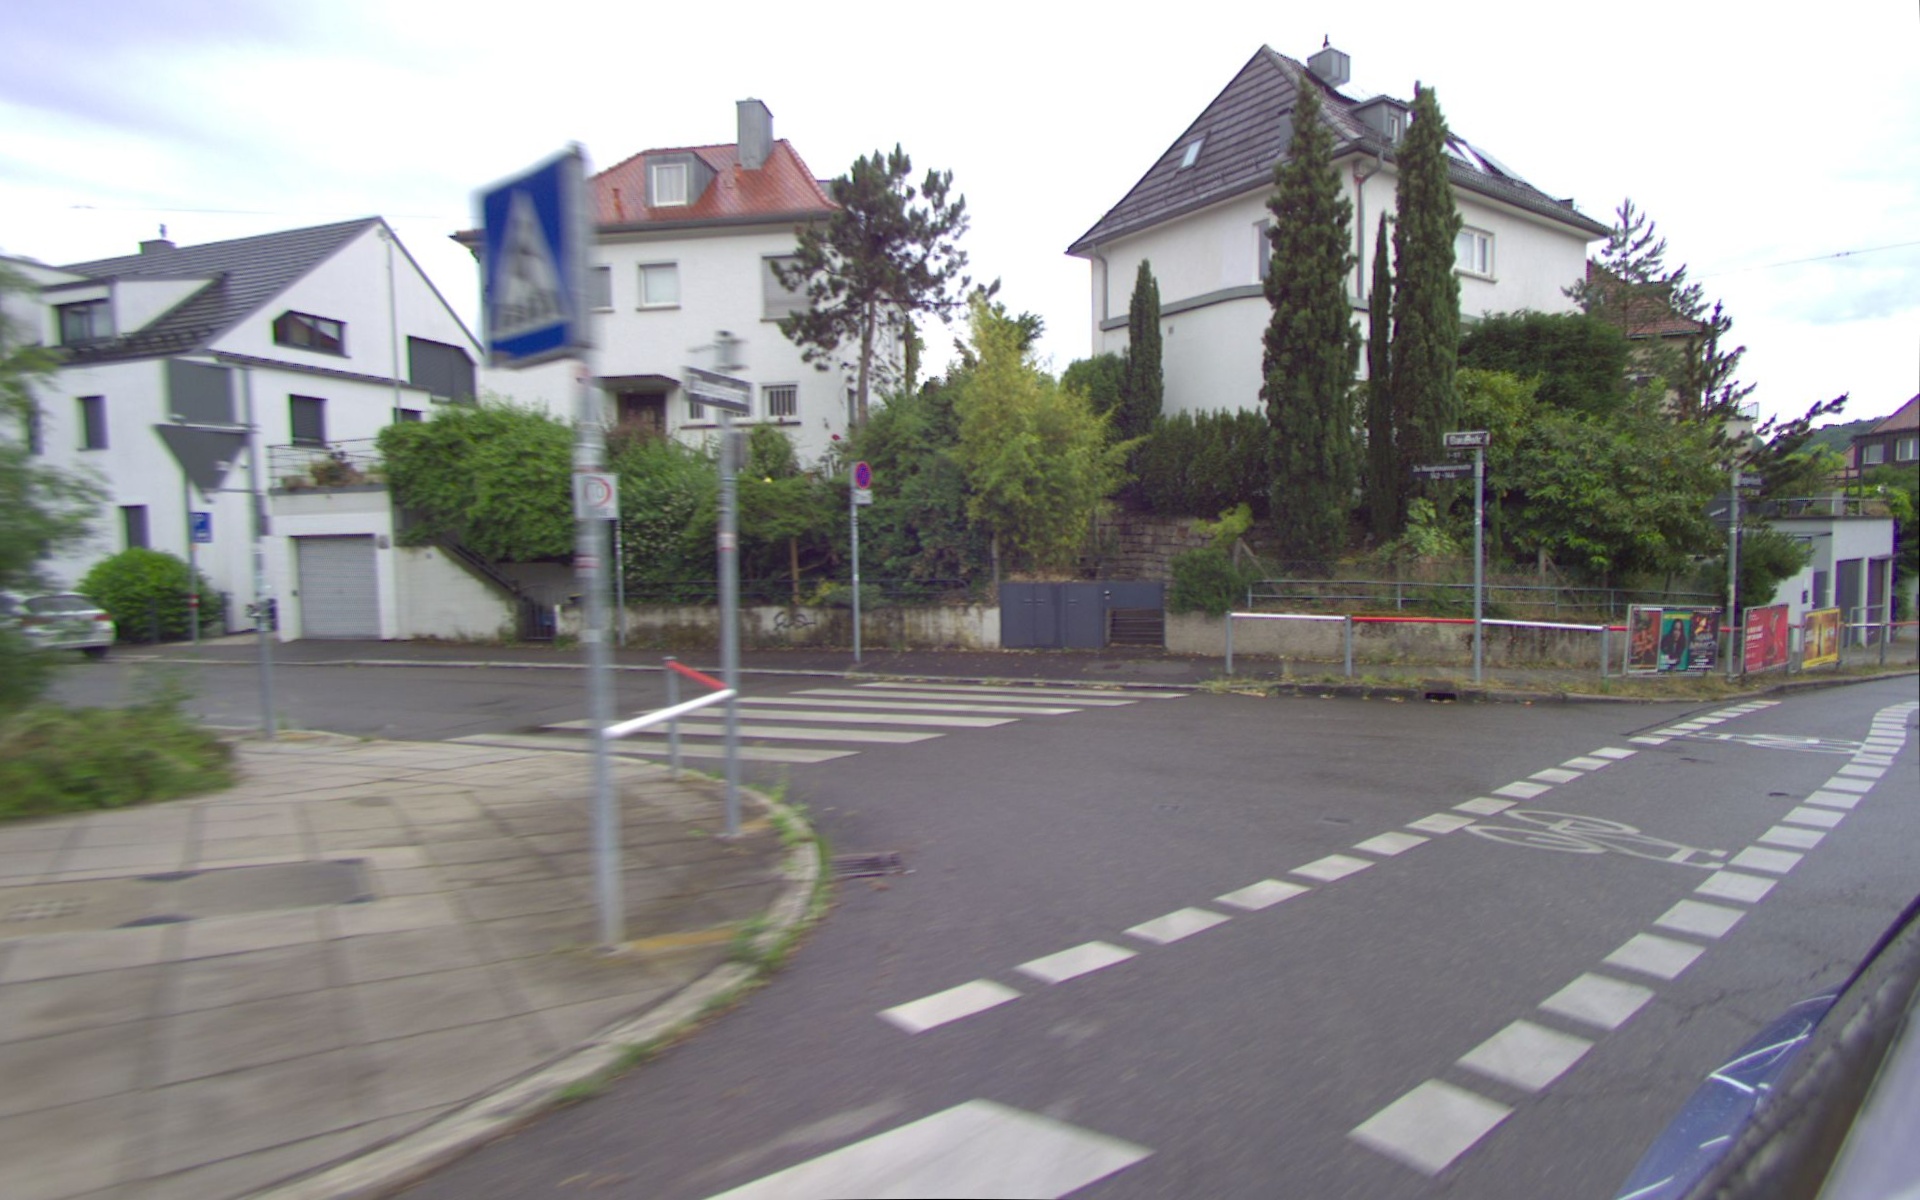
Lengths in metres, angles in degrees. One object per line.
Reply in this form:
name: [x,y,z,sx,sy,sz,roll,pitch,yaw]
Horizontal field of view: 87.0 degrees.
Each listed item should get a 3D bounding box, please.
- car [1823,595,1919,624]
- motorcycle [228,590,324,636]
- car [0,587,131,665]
car: [49.024,0.481,54.224,1.806,1.443,4.232,-1,0,-3]
motorcycle: [-17.208,0.306,25.532,0.614,1.092,2.091,1,1,17]
car: [-19.553,0.477,20.957,3.946,1.451,1.856,0,2,18]
